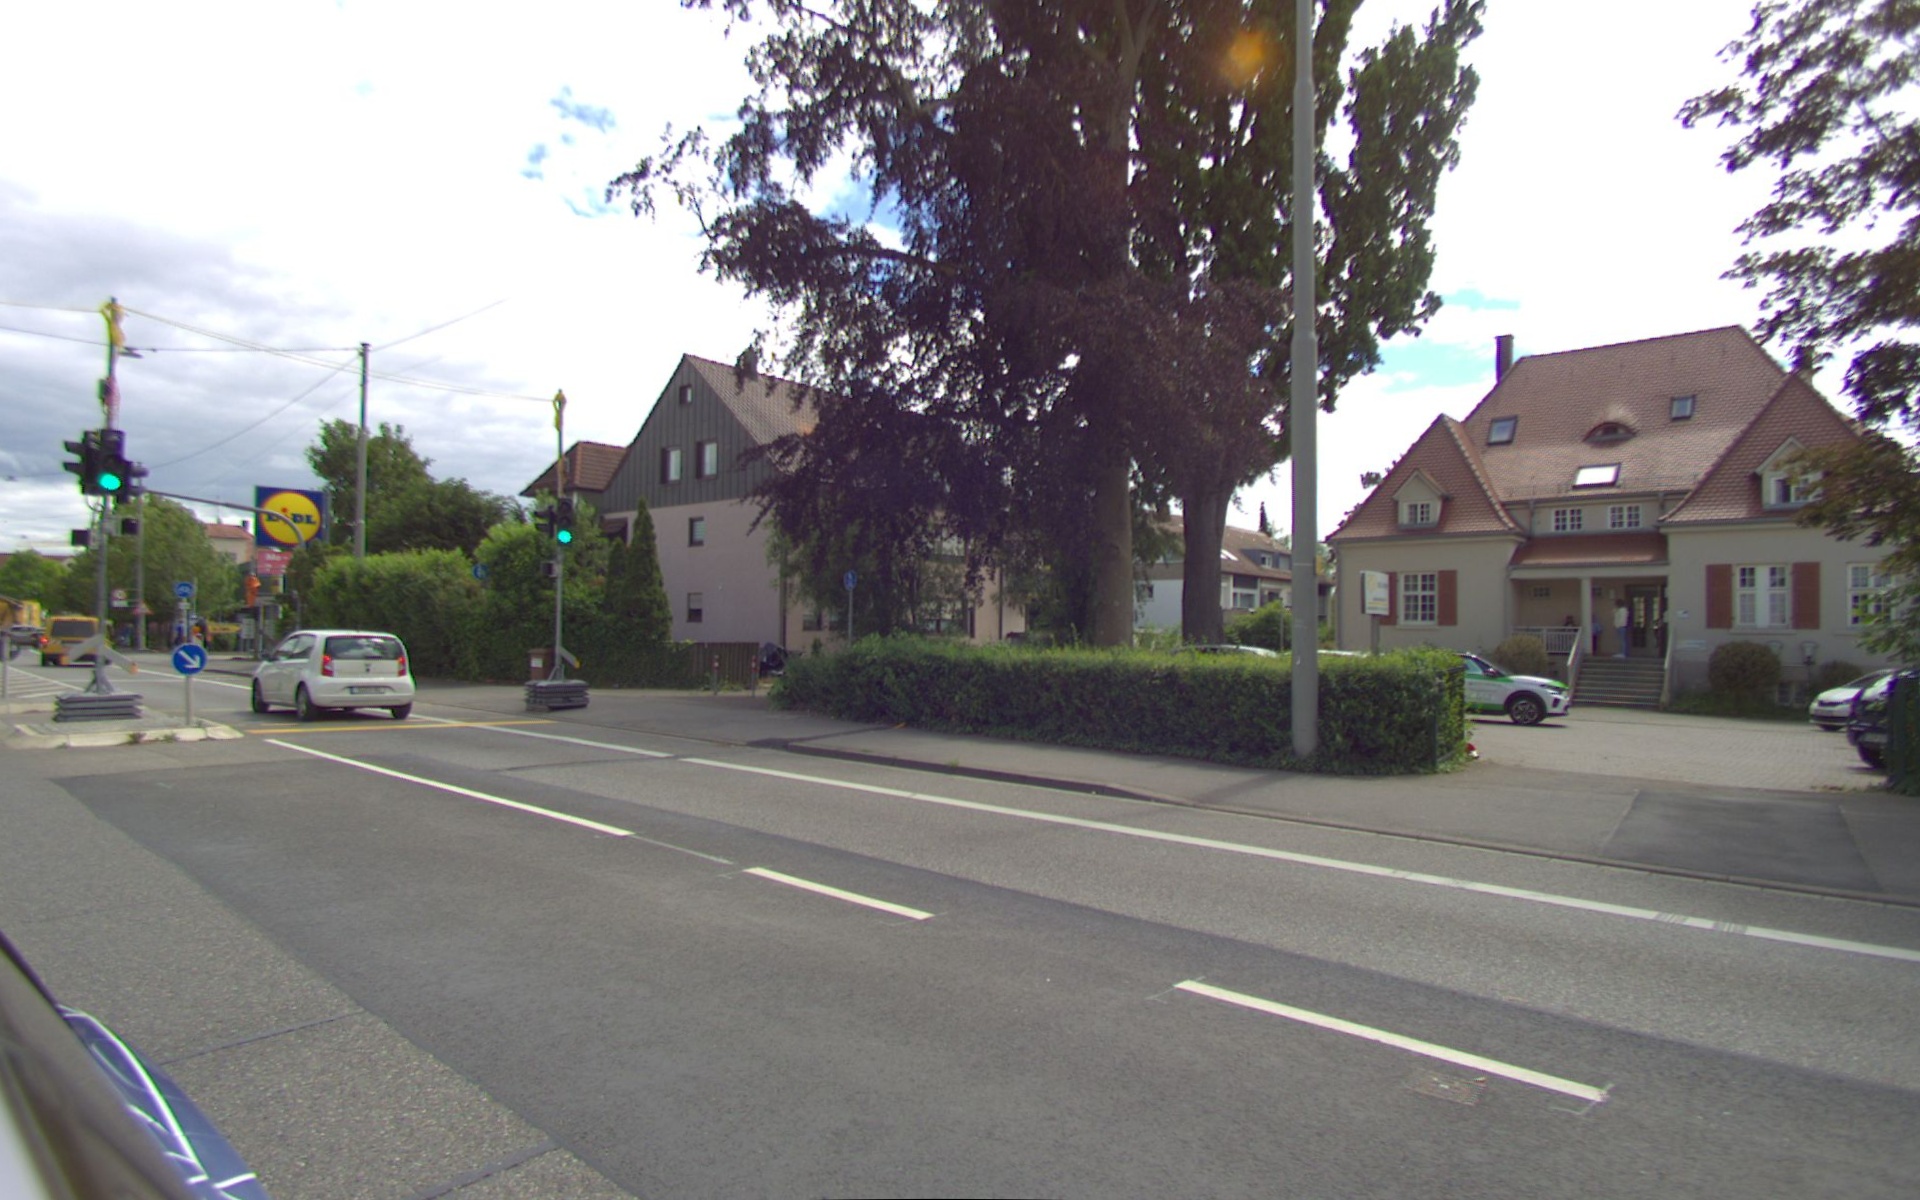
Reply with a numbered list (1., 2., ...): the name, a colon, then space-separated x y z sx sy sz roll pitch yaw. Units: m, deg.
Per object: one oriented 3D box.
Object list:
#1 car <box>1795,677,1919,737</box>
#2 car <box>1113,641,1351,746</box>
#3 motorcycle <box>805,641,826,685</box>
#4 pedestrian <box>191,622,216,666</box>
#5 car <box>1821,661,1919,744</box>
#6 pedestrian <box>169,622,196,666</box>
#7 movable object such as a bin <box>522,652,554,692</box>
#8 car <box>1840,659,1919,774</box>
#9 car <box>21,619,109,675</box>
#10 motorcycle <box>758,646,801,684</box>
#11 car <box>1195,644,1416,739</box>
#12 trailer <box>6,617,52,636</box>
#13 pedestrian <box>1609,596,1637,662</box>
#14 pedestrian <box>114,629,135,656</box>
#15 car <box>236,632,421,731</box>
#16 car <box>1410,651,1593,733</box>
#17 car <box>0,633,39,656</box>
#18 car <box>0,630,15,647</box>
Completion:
1. car: 20.422 2.290 21.679 3.477 1.170 1.657 0 -2 17
2. car: 4.425 1.455 16.704 3.433 1.527 1.644 -2 -3 40
3. motorcycle: -4.773 2.071 33.369 0.545 1.431 1.430 2 -3 -12
4. pedestrian: -32.727 1.909 43.775 0.706 1.869 0.674 -1 -3 42
5. car: 19.336 1.993 19.704 3.477 1.527 1.657 0 -2 17
6. pedestrian: -33.203 1.864 43.224 0.892 1.869 0.674 -1 -3 42
7. movable object such as a bin: -10.435 1.776 25.043 0.532 0.960 0.556 1 -2 -2
8. car: 14.687 1.597 14.001 3.392 1.527 1.664 0 -2 5
9. car: -33.088 1.711 37.357 4.684 1.919 1.822 -1 -4 42
10. motorcycle: -5.916 2.143 33.257 0.478 1.228 1.409 -1 -4 37
11. car: 6.201 1.580 18.317 3.433 1.527 1.644 -2 -3 40
12. trailer: -121.070 3.462 131.714 2.556 2.262 5.692 -1 -2 -22
13. pedestrian: 19.574 0.861 29.870 0.583 1.923 0.584 -2 -4 41
14. pedestrian: -50.562 2.586 61.244 0.829 1.615 0.745 -1 -4 39
15. car: -11.019 1.326 17.558 3.998 1.527 1.643 -2 -3 42
16. car: 12.354 2.032 23.158 3.433 1.676 1.644 -2 -3 40
17. car: -65.832 3.077 70.690 4.400 1.567 1.731 -2 -4 42
18. car: -81.387 3.210 85.318 4.809 1.410 1.972 -1 -5 42
